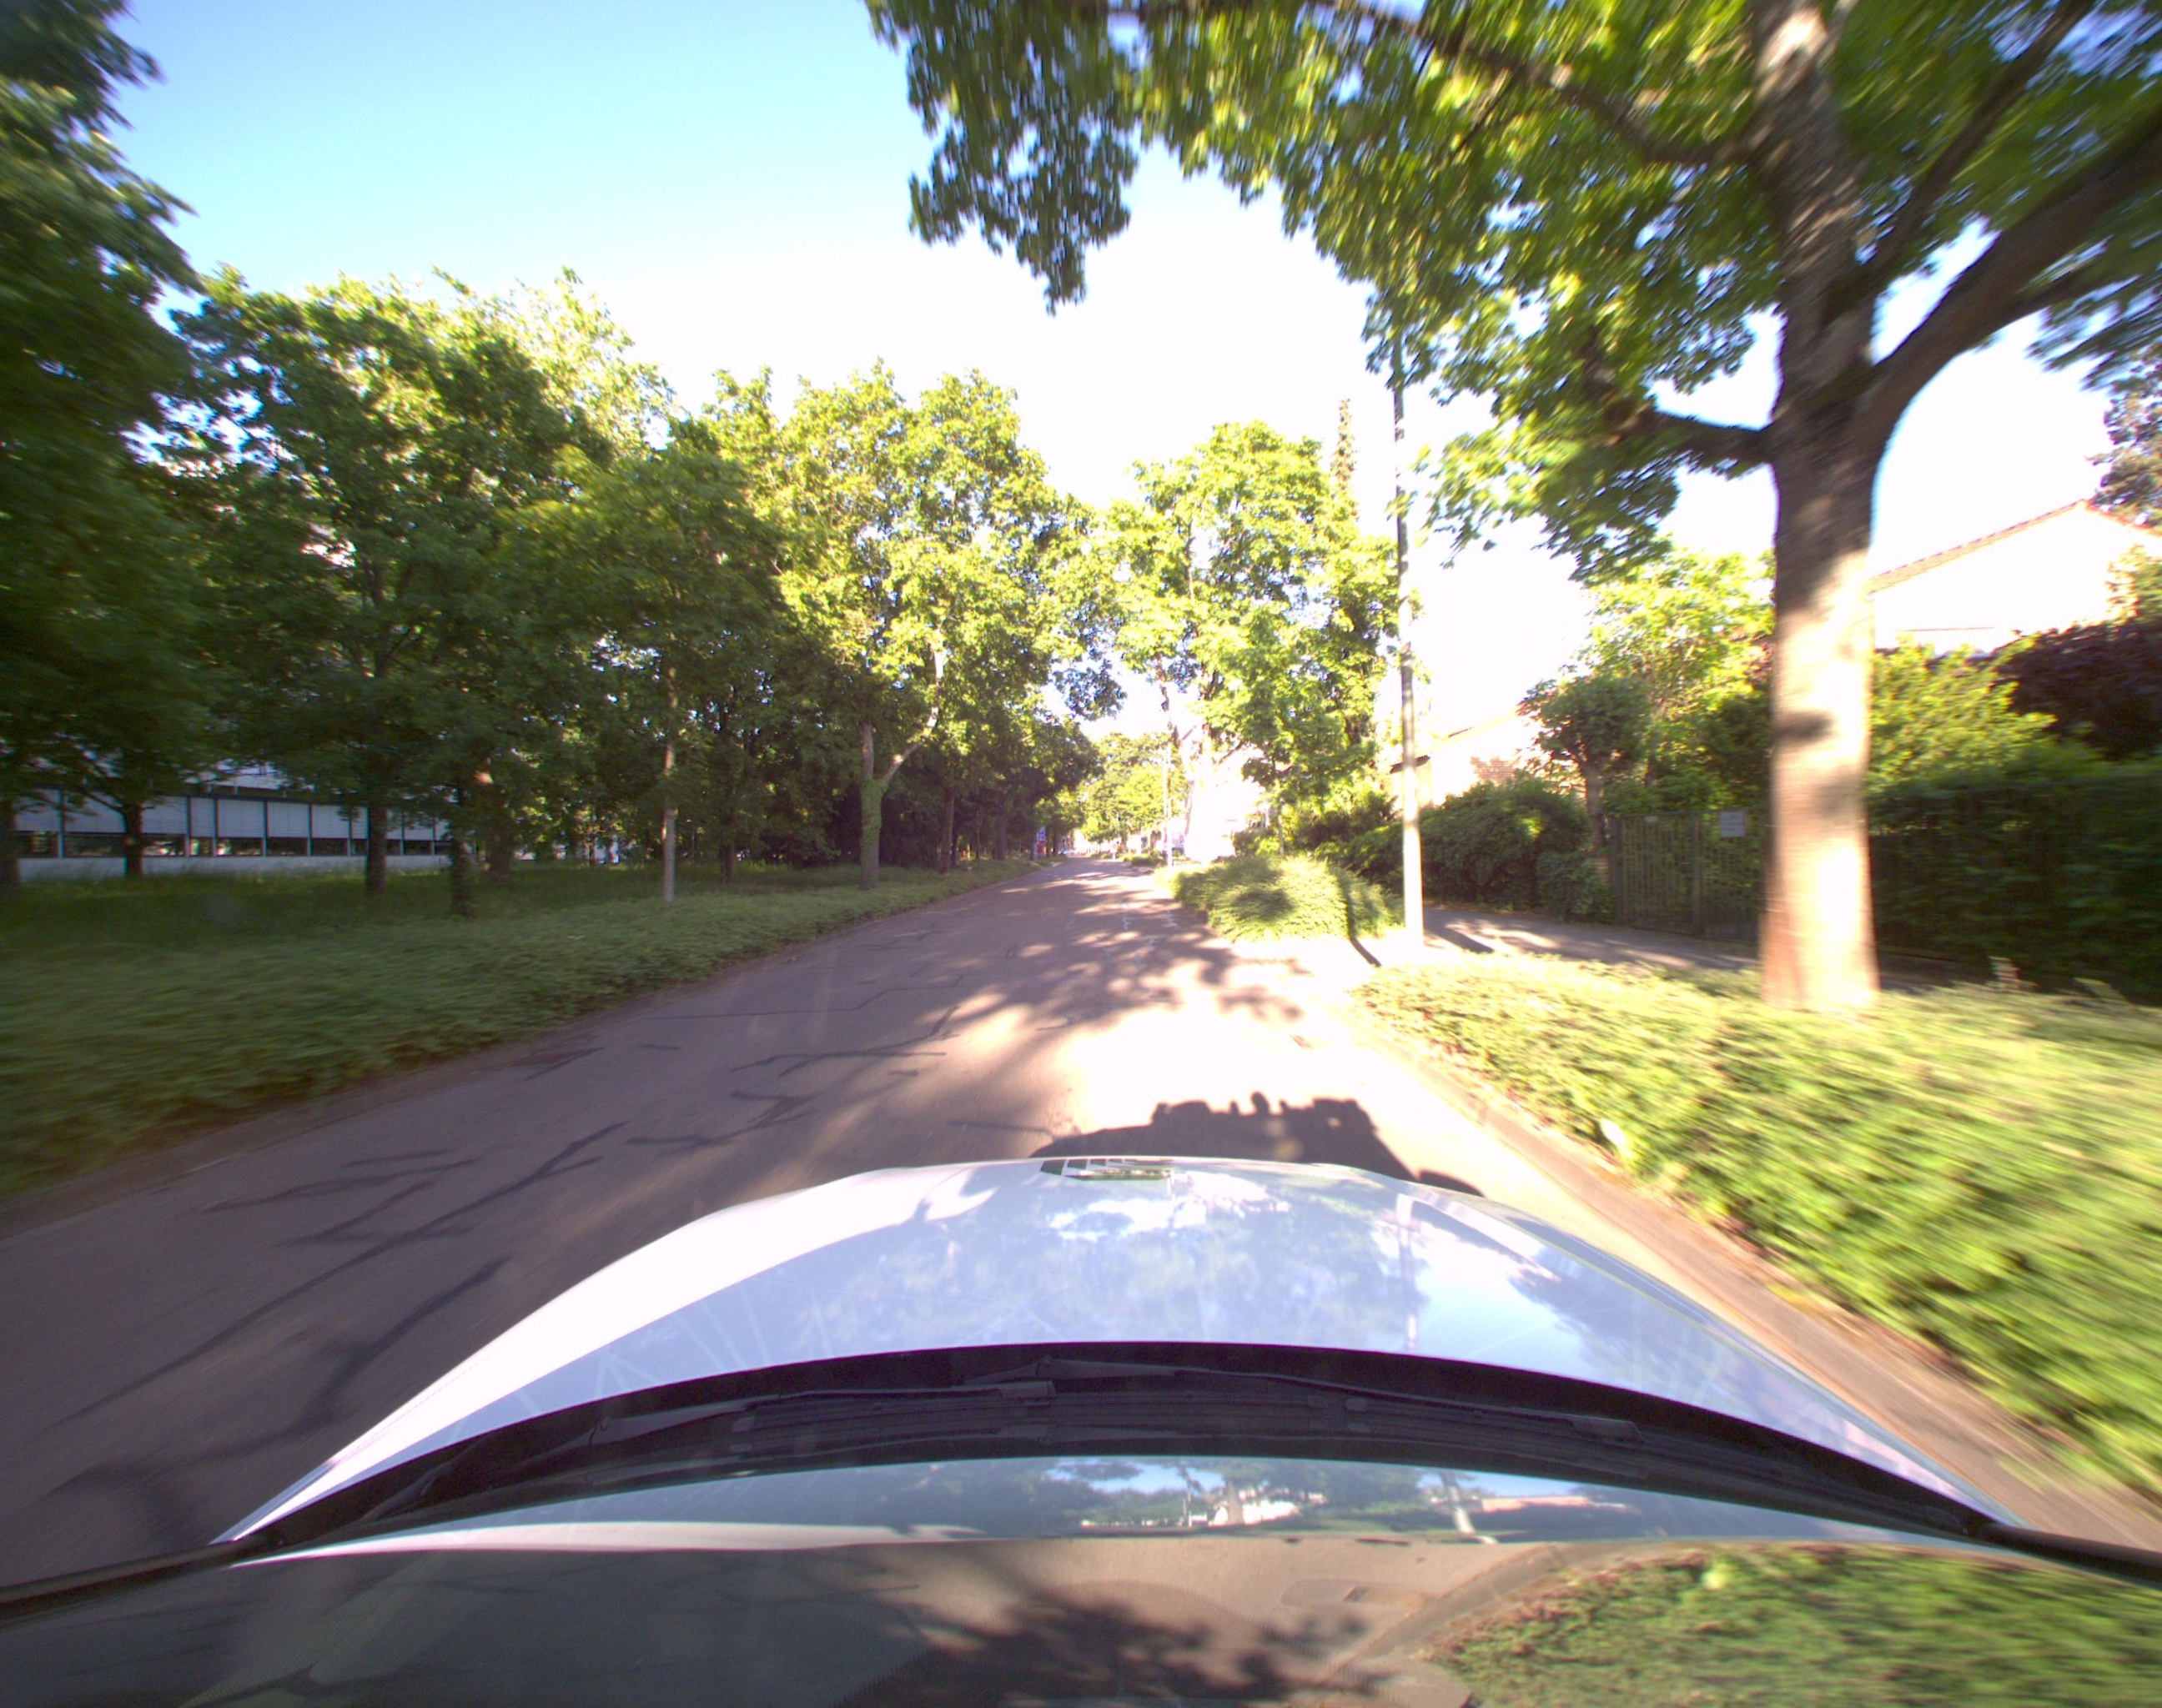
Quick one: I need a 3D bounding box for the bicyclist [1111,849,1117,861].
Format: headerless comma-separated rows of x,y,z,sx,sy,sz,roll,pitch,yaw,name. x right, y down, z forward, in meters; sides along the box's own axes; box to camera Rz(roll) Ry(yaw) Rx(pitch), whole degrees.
4.477,0.103,110.638,0.864,1.641,1.115,1,1,1,bicyclist

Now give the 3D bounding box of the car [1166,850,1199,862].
13.816,0.233,110.727,4.326,1.353,2.149,3,4,7,car

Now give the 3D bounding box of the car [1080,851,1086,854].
0.678,-0.494,250.968,1.833,0.991,3.819,1,0,0,car

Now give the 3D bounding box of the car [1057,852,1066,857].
-5.218,0.154,220.003,1.992,1.354,3.531,1,0,-8,car

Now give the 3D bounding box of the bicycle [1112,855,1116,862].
4.492,0.627,110.611,0.437,0.978,1.662,-1,1,2,bicycle
